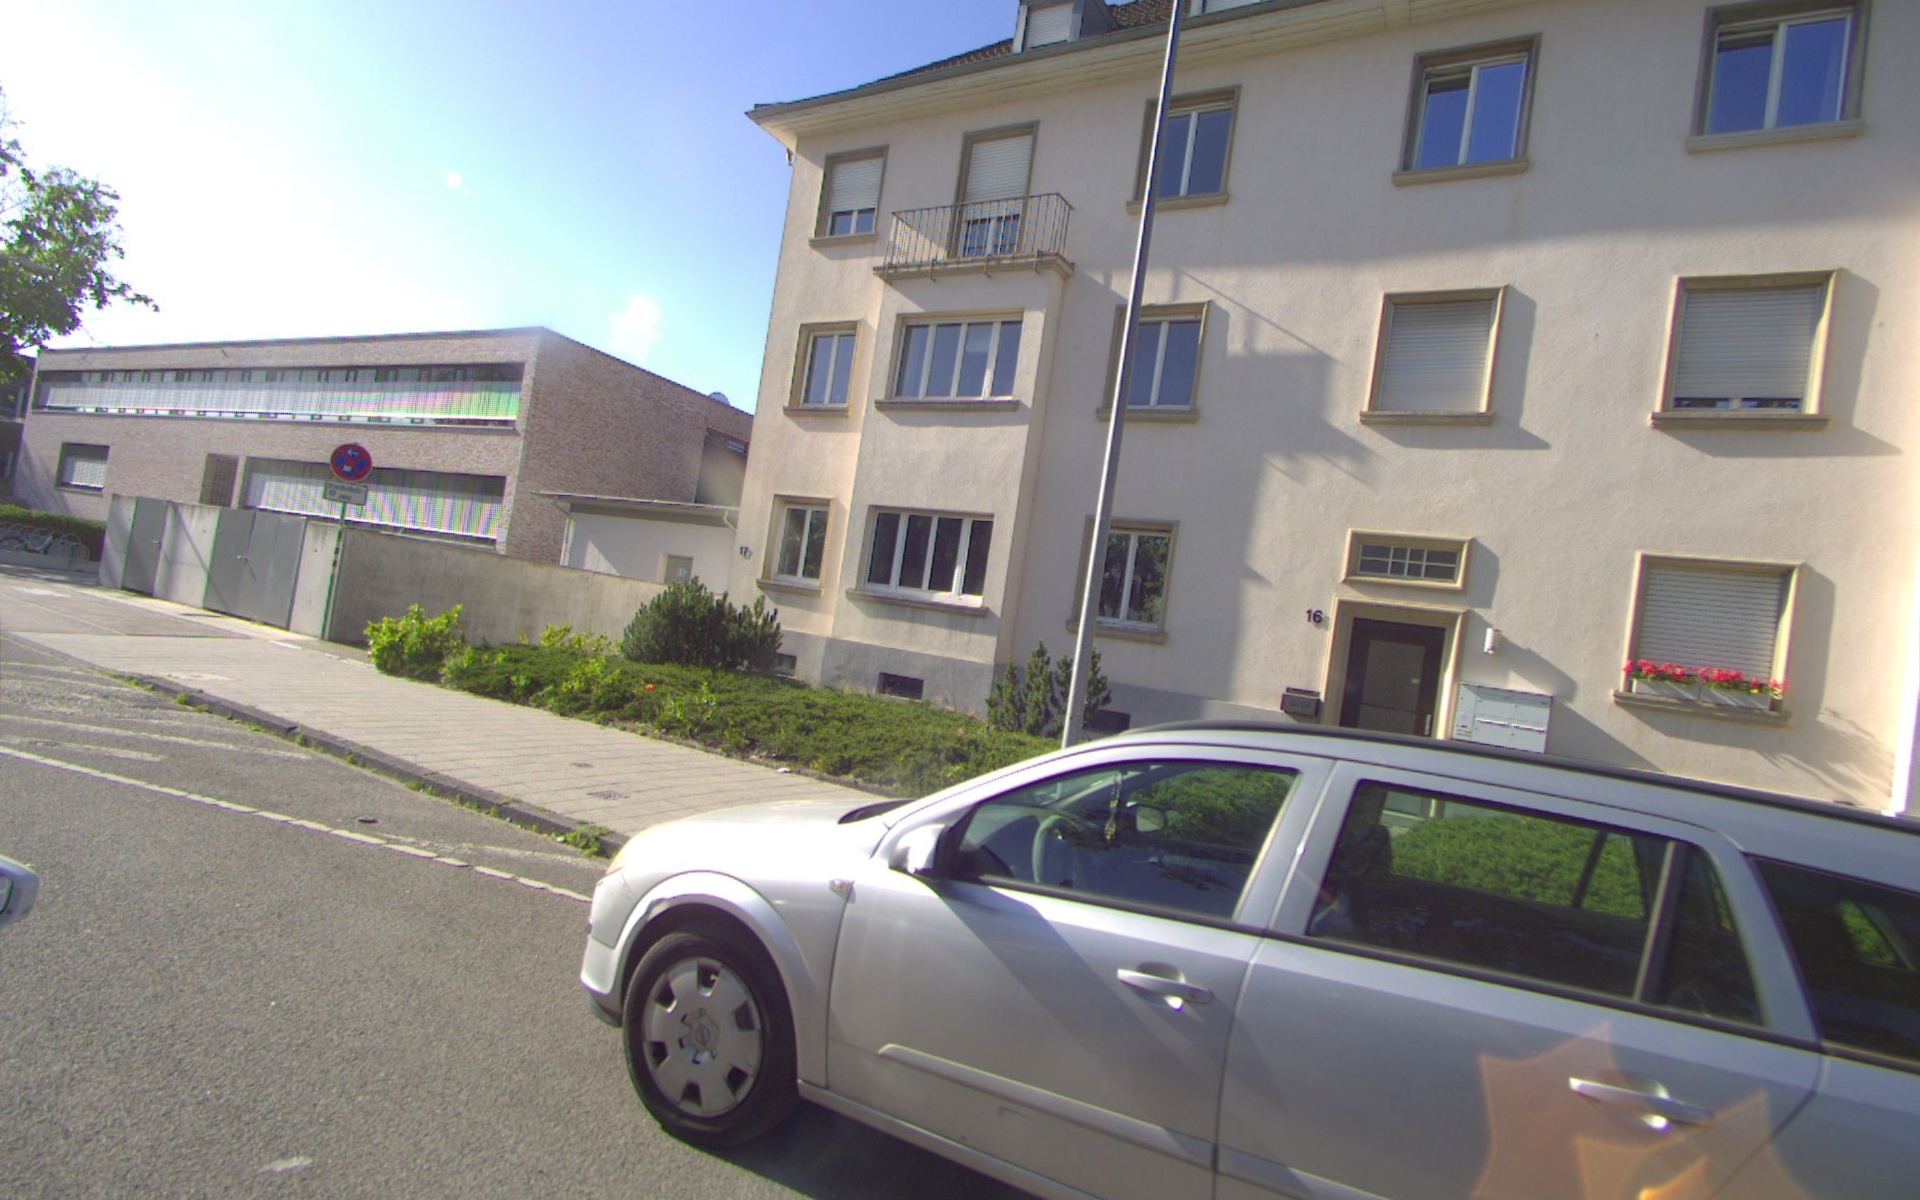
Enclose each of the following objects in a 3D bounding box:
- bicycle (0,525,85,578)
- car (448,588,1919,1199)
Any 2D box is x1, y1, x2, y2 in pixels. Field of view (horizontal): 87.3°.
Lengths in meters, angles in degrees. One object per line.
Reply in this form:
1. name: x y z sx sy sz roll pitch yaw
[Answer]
1. bicycle: -23.914 -1.253 26.070 0.491 1.040 1.675 7 -4 29
2. car: 0.711 1.052 3.051 4.334 1.480 1.666 7 -4 28
